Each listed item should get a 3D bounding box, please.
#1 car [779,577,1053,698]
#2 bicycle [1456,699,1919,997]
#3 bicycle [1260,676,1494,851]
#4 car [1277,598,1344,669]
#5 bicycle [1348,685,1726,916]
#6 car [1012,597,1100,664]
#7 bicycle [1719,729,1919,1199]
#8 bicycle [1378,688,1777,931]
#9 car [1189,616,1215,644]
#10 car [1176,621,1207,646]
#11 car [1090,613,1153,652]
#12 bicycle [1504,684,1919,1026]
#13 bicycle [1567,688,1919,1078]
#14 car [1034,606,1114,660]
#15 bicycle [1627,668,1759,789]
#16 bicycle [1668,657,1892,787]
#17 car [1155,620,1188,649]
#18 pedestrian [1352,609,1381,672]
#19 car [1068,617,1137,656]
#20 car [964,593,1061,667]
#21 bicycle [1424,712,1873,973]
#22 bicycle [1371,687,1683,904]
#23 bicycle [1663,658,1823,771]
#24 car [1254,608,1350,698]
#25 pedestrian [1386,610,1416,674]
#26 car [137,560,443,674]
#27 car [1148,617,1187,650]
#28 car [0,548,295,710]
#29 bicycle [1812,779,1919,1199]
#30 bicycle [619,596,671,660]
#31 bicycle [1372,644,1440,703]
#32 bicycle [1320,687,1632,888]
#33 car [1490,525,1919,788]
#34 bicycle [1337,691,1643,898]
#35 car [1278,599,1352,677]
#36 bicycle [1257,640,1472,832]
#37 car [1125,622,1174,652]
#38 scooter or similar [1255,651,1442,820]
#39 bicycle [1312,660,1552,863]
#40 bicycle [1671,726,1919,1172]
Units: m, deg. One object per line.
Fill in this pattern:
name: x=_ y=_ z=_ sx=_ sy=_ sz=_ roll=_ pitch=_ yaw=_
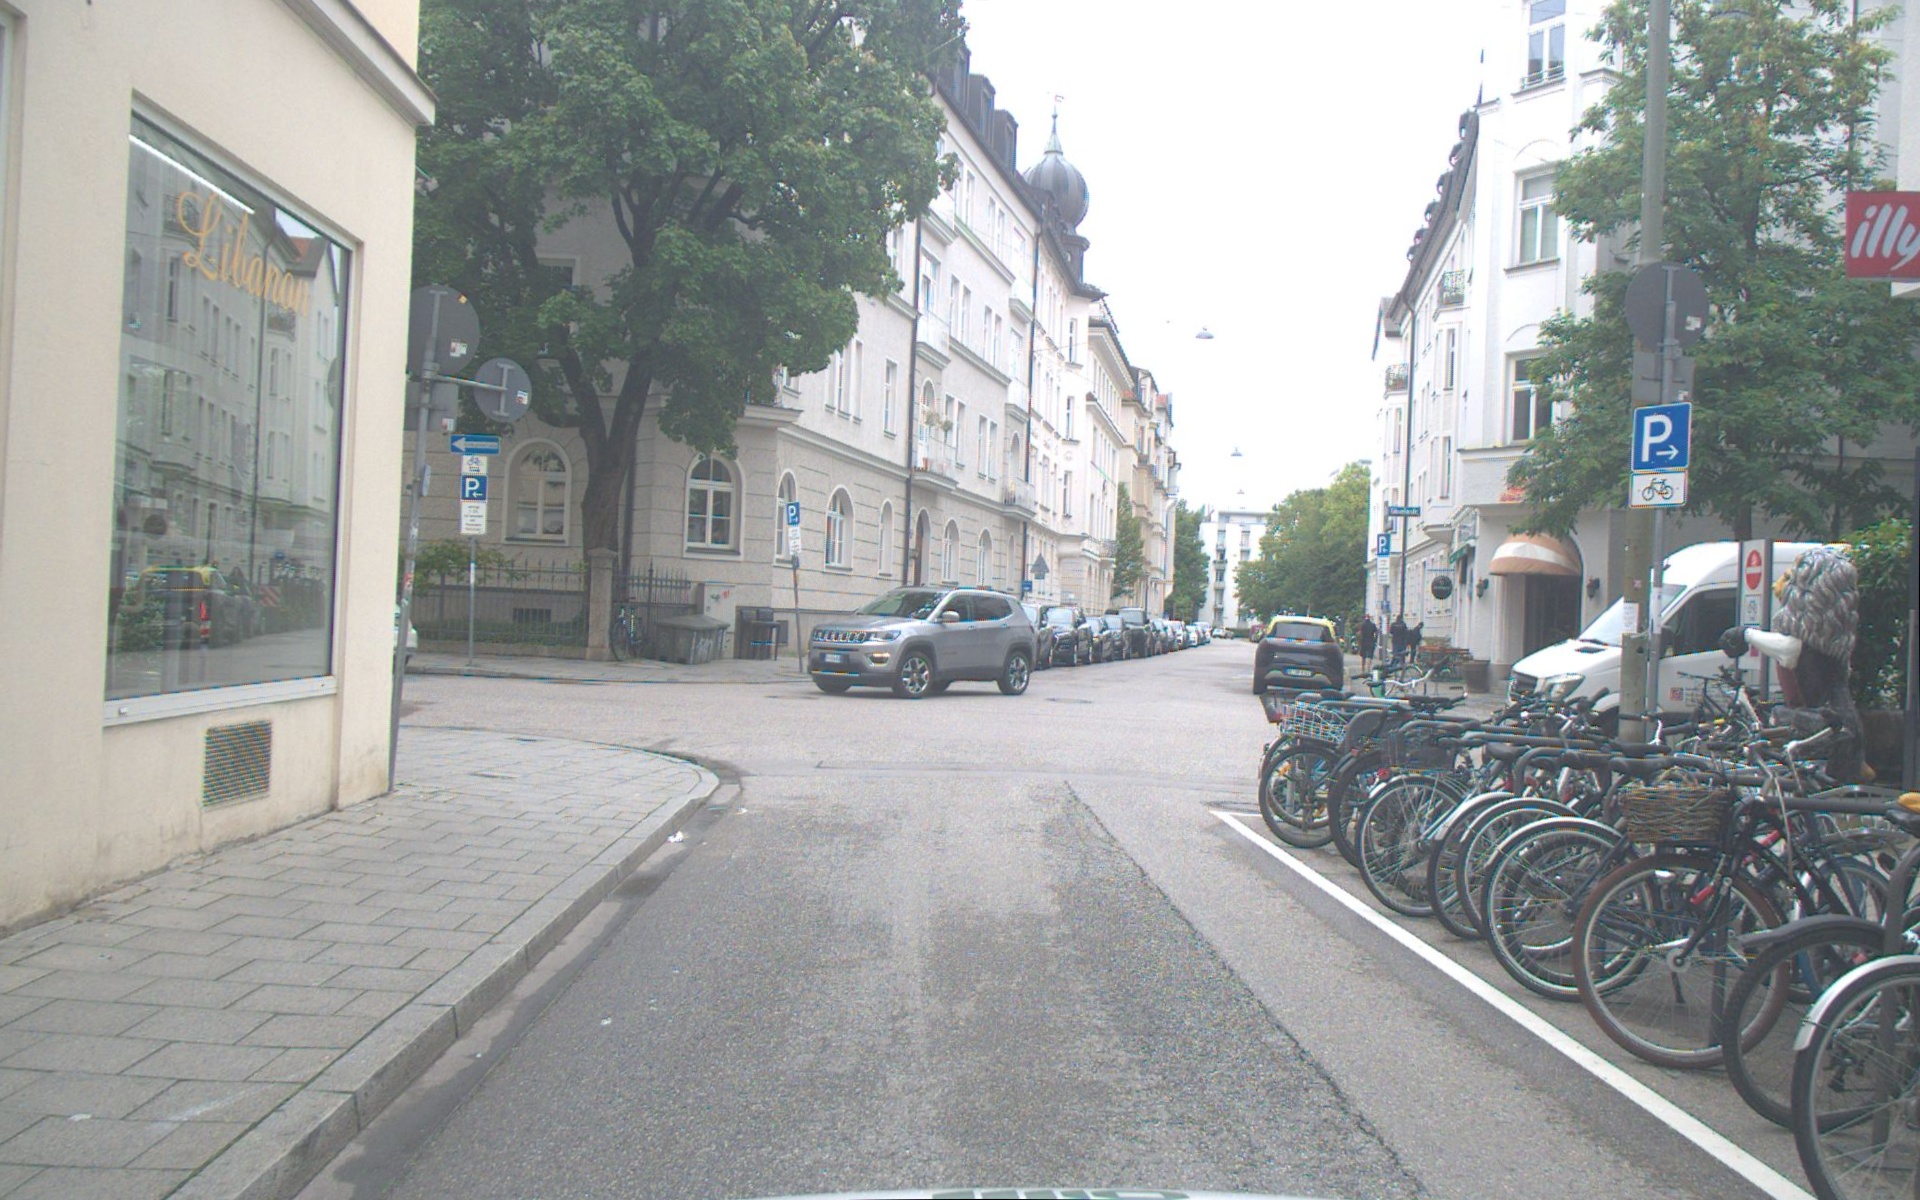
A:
car: x=-0.578 y=0.565 z=25.362 sx=1.925 sy=1.636 sz=4.290 roll=2 pitch=0 yaw=37
bicycle: x=3.055 y=1.018 z=6.867 sx=1.837 sy=1.114 sz=0.439 roll=2 pitch=1 yaw=-5
bicycle: x=2.809 y=1.098 z=11.174 sx=1.424 sy=1.088 sz=0.462 roll=3 pitch=0 yaw=-9
car: x=10.737 y=1.022 z=50.744 sx=1.782 sy=1.956 sz=4.186 roll=4 pitch=0 yaw=12
bicycle: x=3.023 y=1.048 z=8.706 sx=1.837 sy=1.098 sz=0.408 roll=2 pitch=1 yaw=-5
car: x=2.762 y=0.853 z=46.664 sx=1.951 sy=1.705 sz=4.292 roll=2 pitch=0 yaw=10
bicycle: x=3.003 y=1.003 z=4.280 sx=1.837 sy=1.225 sz=0.488 roll=2 pitch=1 yaw=-4
bicycle: x=3.072 y=1.038 z=8.269 sx=1.837 sy=1.098 sz=0.402 roll=2 pitch=1 yaw=-5
car: x=19.098 y=2.356 z=130.385 sx=1.807 sy=2.049 sz=4.003 roll=2 pitch=0 yaw=10
car: x=15.745 y=2.240 z=112.315 sx=1.951 sy=1.601 sz=4.003 roll=2 pitch=0 yaw=9
car: x=6.210 y=1.216 z=63.250 sx=1.866 sy=1.352 sz=4.003 roll=2 pitch=0 yaw=13
bicycle: x=3.109 y=0.957 z=6.326 sx=1.856 sy=1.190 sz=0.565 roll=2 pitch=0 yaw=-5
bicycle: x=3.117 y=0.950 z=5.699 sx=1.836 sy=1.225 sz=0.579 roll=1 pitch=0 yaw=-4
car: x=3.684 y=1.028 z=52.662 sx=1.885 sy=1.573 sz=4.003 roll=3 pitch=0 yaw=13
bicycle: x=7.479 y=1.305 z=16.892 sx=1.153 sy=1.147 sz=0.340 roll=3 pitch=-1 yaw=5
bicycle: x=8.050 y=1.185 z=16.289 sx=1.861 sy=1.147 sz=0.592 roll=3 pitch=0 yaw=3
car: x=11.777 y=1.895 z=91.910 sx=1.697 sy=1.444 sz=4.003 roll=2 pitch=0 yaw=9
pedestrian: x=12.468 y=1.243 z=50.745 sx=0.761 sy=1.883 sz=1.023 roll=2 pitch=0 yaw=13
car: x=5.106 y=1.269 z=58.763 sx=1.866 sy=1.243 sz=4.003 roll=2 pitch=0 yaw=13
car: x=1.382 y=0.754 z=42.106 sx=1.951 sy=1.705 sz=4.015 roll=2 pitch=0 yaw=8
bicycle: x=3.128 y=1.095 z=7.572 sx=1.837 sy=1.070 sz=0.563 roll=2 pitch=-2 yaw=-5
bicycle: x=3.126 y=1.075 z=9.150 sx=1.581 sy=1.098 sz=0.377 roll=2 pitch=1 yaw=-5
bicycle: x=8.182 y=1.193 z=17.300 sx=1.472 sy=1.090 sz=0.370 roll=3 pitch=-1 yaw=-2
car: x=7.304 y=1.093 z=35.345 sx=1.782 sy=1.664 sz=4.292 roll=4 pitch=0 yaw=12
pedestrian: x=13.345 y=1.254 z=50.081 sx=0.761 sy=1.883 sz=1.023 roll=2 pitch=0 yaw=13
car: x=-10.118 y=0.253 z=25.143 sx=3.904 sy=1.474 sz=1.686 roll=3 pitch=0 yaw=4
car: x=10.811 y=1.705 z=86.024 sx=1.782 sy=1.601 sz=4.003 roll=2 pitch=0 yaw=9
car: x=-10.253 y=0.272 z=19.197 sx=4.245 sy=1.541 sz=1.904 roll=3 pitch=3 yaw=0
bicycle: x=2.988 y=1.056 z=3.759 sx=1.837 sy=1.127 sz=0.488 roll=4 pitch=1 yaw=-4
bicycle: x=-5.818 y=0.502 z=30.627 sx=0.483 sy=1.071 sz=1.828 roll=2 pitch=2 yaw=4
bicycle: x=8.430 y=1.374 z=31.318 sx=0.529 sy=1.016 sz=1.751 roll=-1 pitch=0 yaw=-11
bicycle: x=3.089 y=1.119 z=9.947 sx=1.706 sy=1.098 sz=0.452 roll=2 pitch=1 yaw=-5
car: x=9.245 y=0.622 z=18.716 sx=5.770 sy=2.636 sz=2.061 roll=3 pitch=1 yaw=3
bicycle: x=3.046 y=1.114 z=9.532 sx=1.641 sy=1.098 sz=0.336 roll=2 pitch=1 yaw=-5
car: x=9.753 y=1.027 z=45.504 sx=1.782 sy=1.903 sz=4.292 roll=4 pitch=0 yaw=12
bicycle: x=2.967 y=0.992 z=12.189 sx=1.427 sy=1.307 sz=0.445 roll=3 pitch=0 yaw=-1
car: x=8.567 y=1.644 z=74.654 sx=1.866 sy=1.243 sz=4.003 roll=2 pitch=0 yaw=11
scooter or similar: x=3.042 y=1.051 z=12.988 sx=1.325 sy=1.231 sz=0.417 roll=3 pitch=-1 yaw=0
bicycle: x=3.058 y=1.041 z=10.731 sx=1.424 sy=1.228 sz=0.394 roll=3 pitch=0 yaw=-10
bicycle: x=3.201 y=1.053 z=4.969 sx=1.837 sy=1.177 sz=0.565 roll=4 pitch=1 yaw=-4
